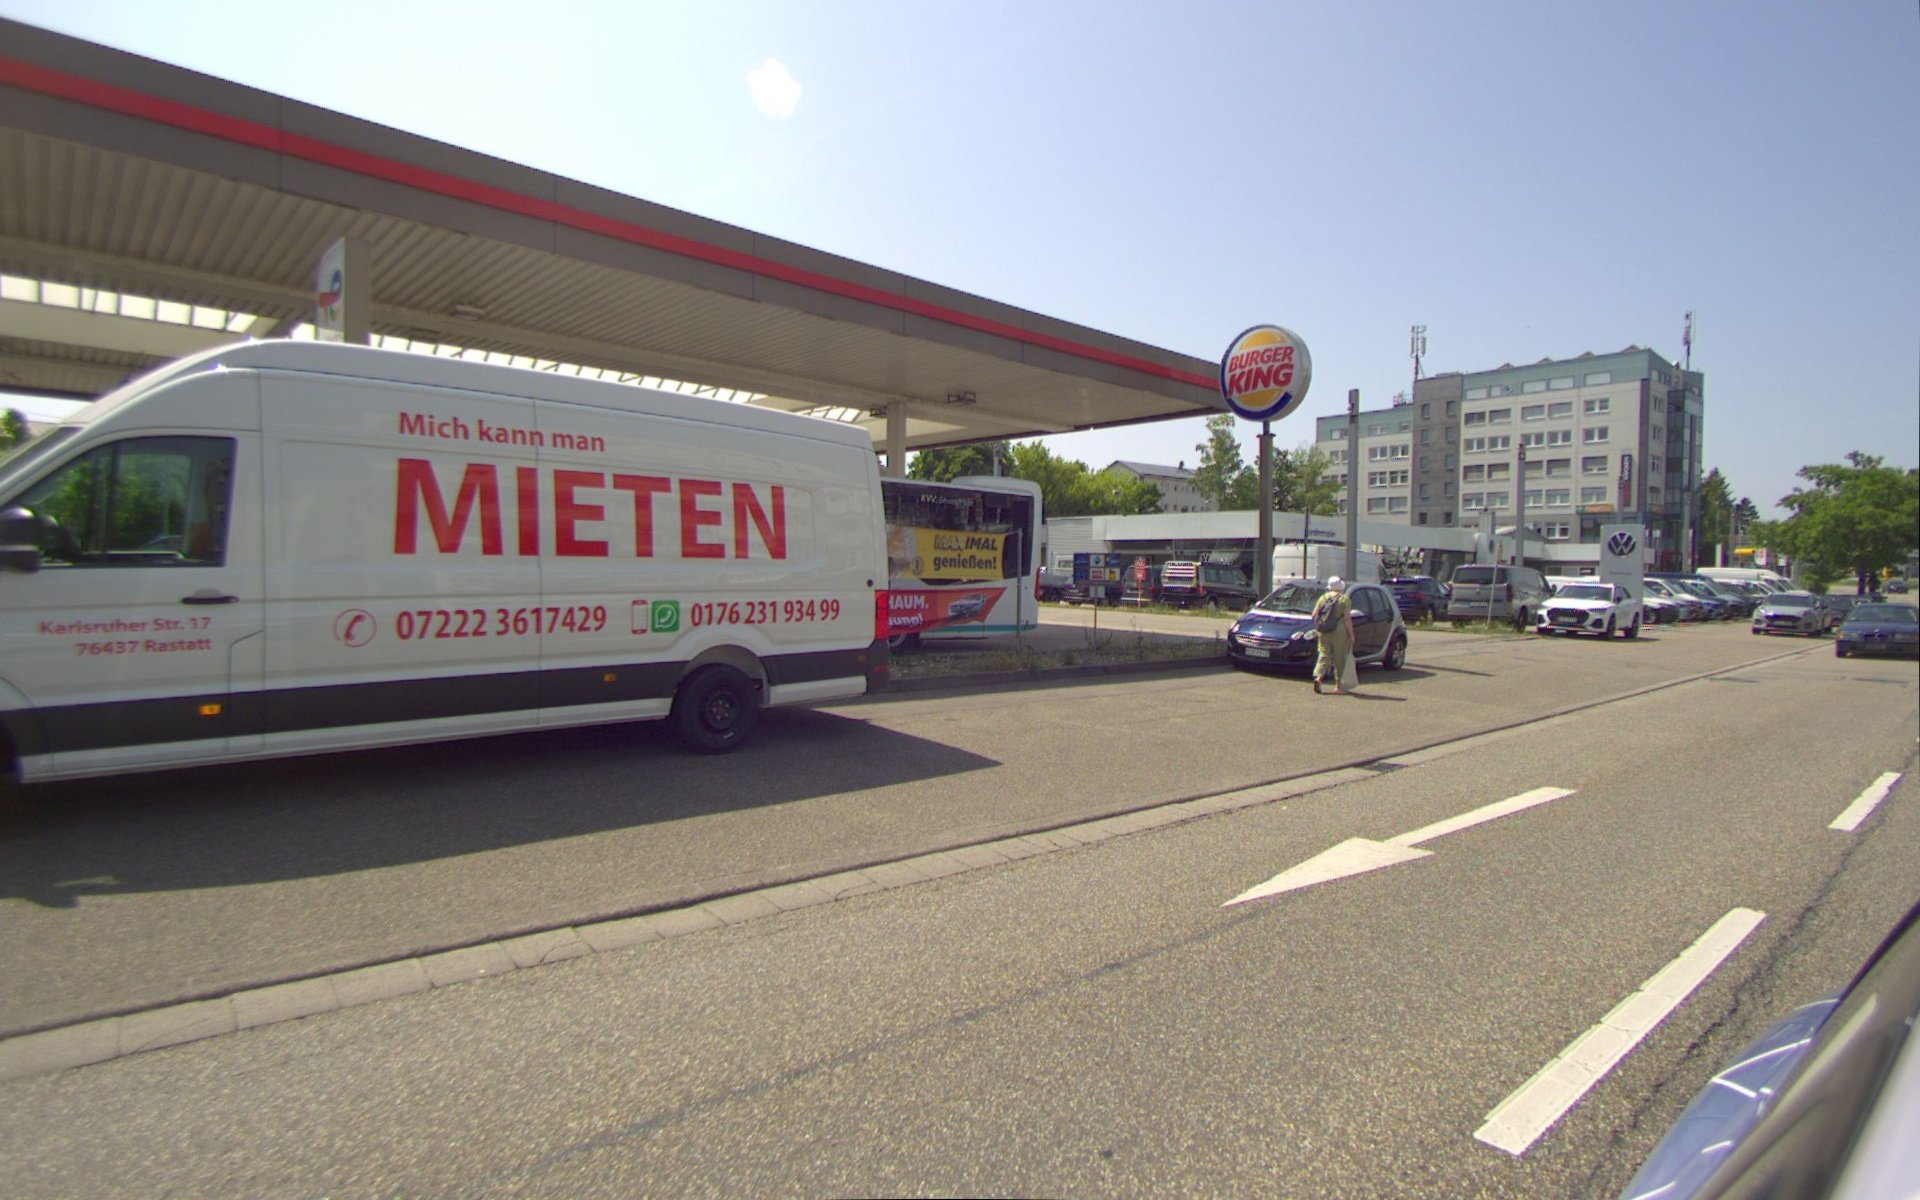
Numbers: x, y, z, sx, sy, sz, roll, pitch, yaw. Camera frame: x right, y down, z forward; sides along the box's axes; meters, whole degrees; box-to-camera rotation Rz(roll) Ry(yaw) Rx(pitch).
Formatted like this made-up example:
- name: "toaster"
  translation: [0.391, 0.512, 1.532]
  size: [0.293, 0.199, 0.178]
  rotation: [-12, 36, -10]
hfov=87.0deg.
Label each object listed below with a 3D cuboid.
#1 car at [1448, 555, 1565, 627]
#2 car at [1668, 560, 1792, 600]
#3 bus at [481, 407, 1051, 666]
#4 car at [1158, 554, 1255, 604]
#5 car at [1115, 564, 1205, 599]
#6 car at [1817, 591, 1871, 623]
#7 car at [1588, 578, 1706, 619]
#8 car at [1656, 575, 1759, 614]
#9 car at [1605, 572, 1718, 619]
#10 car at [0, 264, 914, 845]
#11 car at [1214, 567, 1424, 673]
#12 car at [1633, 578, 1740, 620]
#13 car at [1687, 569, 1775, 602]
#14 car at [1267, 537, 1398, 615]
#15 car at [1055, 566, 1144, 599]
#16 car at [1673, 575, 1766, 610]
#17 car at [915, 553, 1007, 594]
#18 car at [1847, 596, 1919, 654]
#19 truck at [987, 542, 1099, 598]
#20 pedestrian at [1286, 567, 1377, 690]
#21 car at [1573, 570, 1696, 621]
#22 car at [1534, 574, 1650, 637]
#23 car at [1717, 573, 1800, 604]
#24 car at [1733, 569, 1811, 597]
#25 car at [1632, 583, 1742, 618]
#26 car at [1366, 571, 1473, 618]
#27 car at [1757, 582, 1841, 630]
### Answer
- name: "car"
  translation: [16.756, -0.288, 30.969]
  size: [3.933, 2.038, 1.996]
  rotation: [0, 2, -44]
- name: "car"
  translation: [54.840, -1.459, 72.242]
  size: [6.866, 2.636, 1.699]
  rotation: [3, 2, 43]
- name: "bus"
  translation: [-2.635, -0.849, 16.451]
  size: [8.919, 3.191, 2.755]
  rotation: [0, 2, -41]
- name: "car"
  translation: [9.503, -0.807, 38.837]
  size: [3.933, 1.816, 1.751]
  rotation: [0, 2, -43]
- name: "car"
  translation: [8.113, -0.739, 40.956]
  size: [3.719, 1.320, 1.751]
  rotation: [0, 2, -43]
- name: "car"
  translation: [41.785, 0.295, 47.813]
  size: [4.146, 1.415, 1.560]
  rotation: [0, 2, -44]
- name: "car"
  translation: [29.654, -0.100, 43.724]
  size: [3.986, 1.597, 1.699]
  rotation: [3, 2, 43]
- name: "car"
  translation: [37.598, -0.294, 50.952]
  size: [3.986, 1.808, 1.699]
  rotation: [3, 2, 43]
- name: "car"
  translation: [31.688, -0.245, 45.755]
  size: [3.986, 1.941, 1.699]
  rotation: [3, 2, 43]
- name: "car"
  translation: [-3.775, -0.293, 7.247]
  size: [7.157, 2.807, 2.180]
  rotation: [0, 4, -44]
- name: "car"
  translation: [5.942, 0.260, 16.552]
  size: [3.778, 1.466, 1.678]
  rotation: [0, 4, -44]
- name: "car"
  translation: [35.199, -0.091, 49.087]
  size: [3.986, 1.871, 1.699]
  rotation: [3, 2, 43]
- name: "car"
  translation: [46.037, -0.885, 60.477]
  size: [3.986, 1.787, 1.699]
  rotation: [3, 2, 43]
- name: "car"
  translation: [12.885, -0.818, 34.777]
  size: [5.485, 2.465, 2.054]
  rotation: [0, 2, -45]
- name: "car"
  translation: [5.909, -0.734, 42.678]
  size: [3.719, 1.320, 1.751]
  rotation: [0, 2, -43]
- name: "car"
  translation: [42.709, -0.465, 56.937]
  size: [3.986, 1.787, 1.699]
  rotation: [3, 2, 43]
- name: "car"
  translation: [0.088, -1.264, 48.573]
  size: [4.135, 1.853, 1.996]
  rotation: [0, 2, -43]
- name: "car"
  translation: [23.845, 0.590, 25.834]
  size: [1.628, 1.356, 3.696]
  rotation: [0, 0, 44]
- name: "truck"
  translation: [3.708, -1.304, 44.497]
  size: [2.241, 2.350, 4.942]
  rotation: [3, 2, 45]
- name: "pedestrian"
  translation: [5.100, 0.386, 13.918]
  size: [0.803, 1.600, 0.706]
  rotation: [2, 3, -20]
- name: "car"
  translation: [27.760, -0.223, 41.735]
  size: [3.986, 1.942, 1.699]
  rotation: [3, 2, 43]
- name: "car"
  translation: [18.377, 0.121, 29.363]
  size: [3.933, 1.600, 1.858]
  rotation: [0, 4, -44]
- name: "car"
  translation: [50.813, -0.761, 64.423]
  size: [3.986, 1.787, 1.699]
  rotation: [3, 2, 43]
- name: "car"
  translation: [54.647, -1.146, 68.127]
  size: [3.986, 1.787, 1.699]
  rotation: [3, 2, 43]
- name: "car"
  translation: [33.729, -0.002, 47.016]
  size: [3.986, 1.467, 1.699]
  rotation: [3, 2, 43]
- name: "car"
  translation: [14.945, -0.207, 32.817]
  size: [3.933, 1.393, 1.805]
  rotation: [0, 2, -44]
- name: "car"
  translation: [30.064, 0.190, 36.217]
  size: [3.934, 1.578, 1.864]
  rotation: [0, 2, -44]
